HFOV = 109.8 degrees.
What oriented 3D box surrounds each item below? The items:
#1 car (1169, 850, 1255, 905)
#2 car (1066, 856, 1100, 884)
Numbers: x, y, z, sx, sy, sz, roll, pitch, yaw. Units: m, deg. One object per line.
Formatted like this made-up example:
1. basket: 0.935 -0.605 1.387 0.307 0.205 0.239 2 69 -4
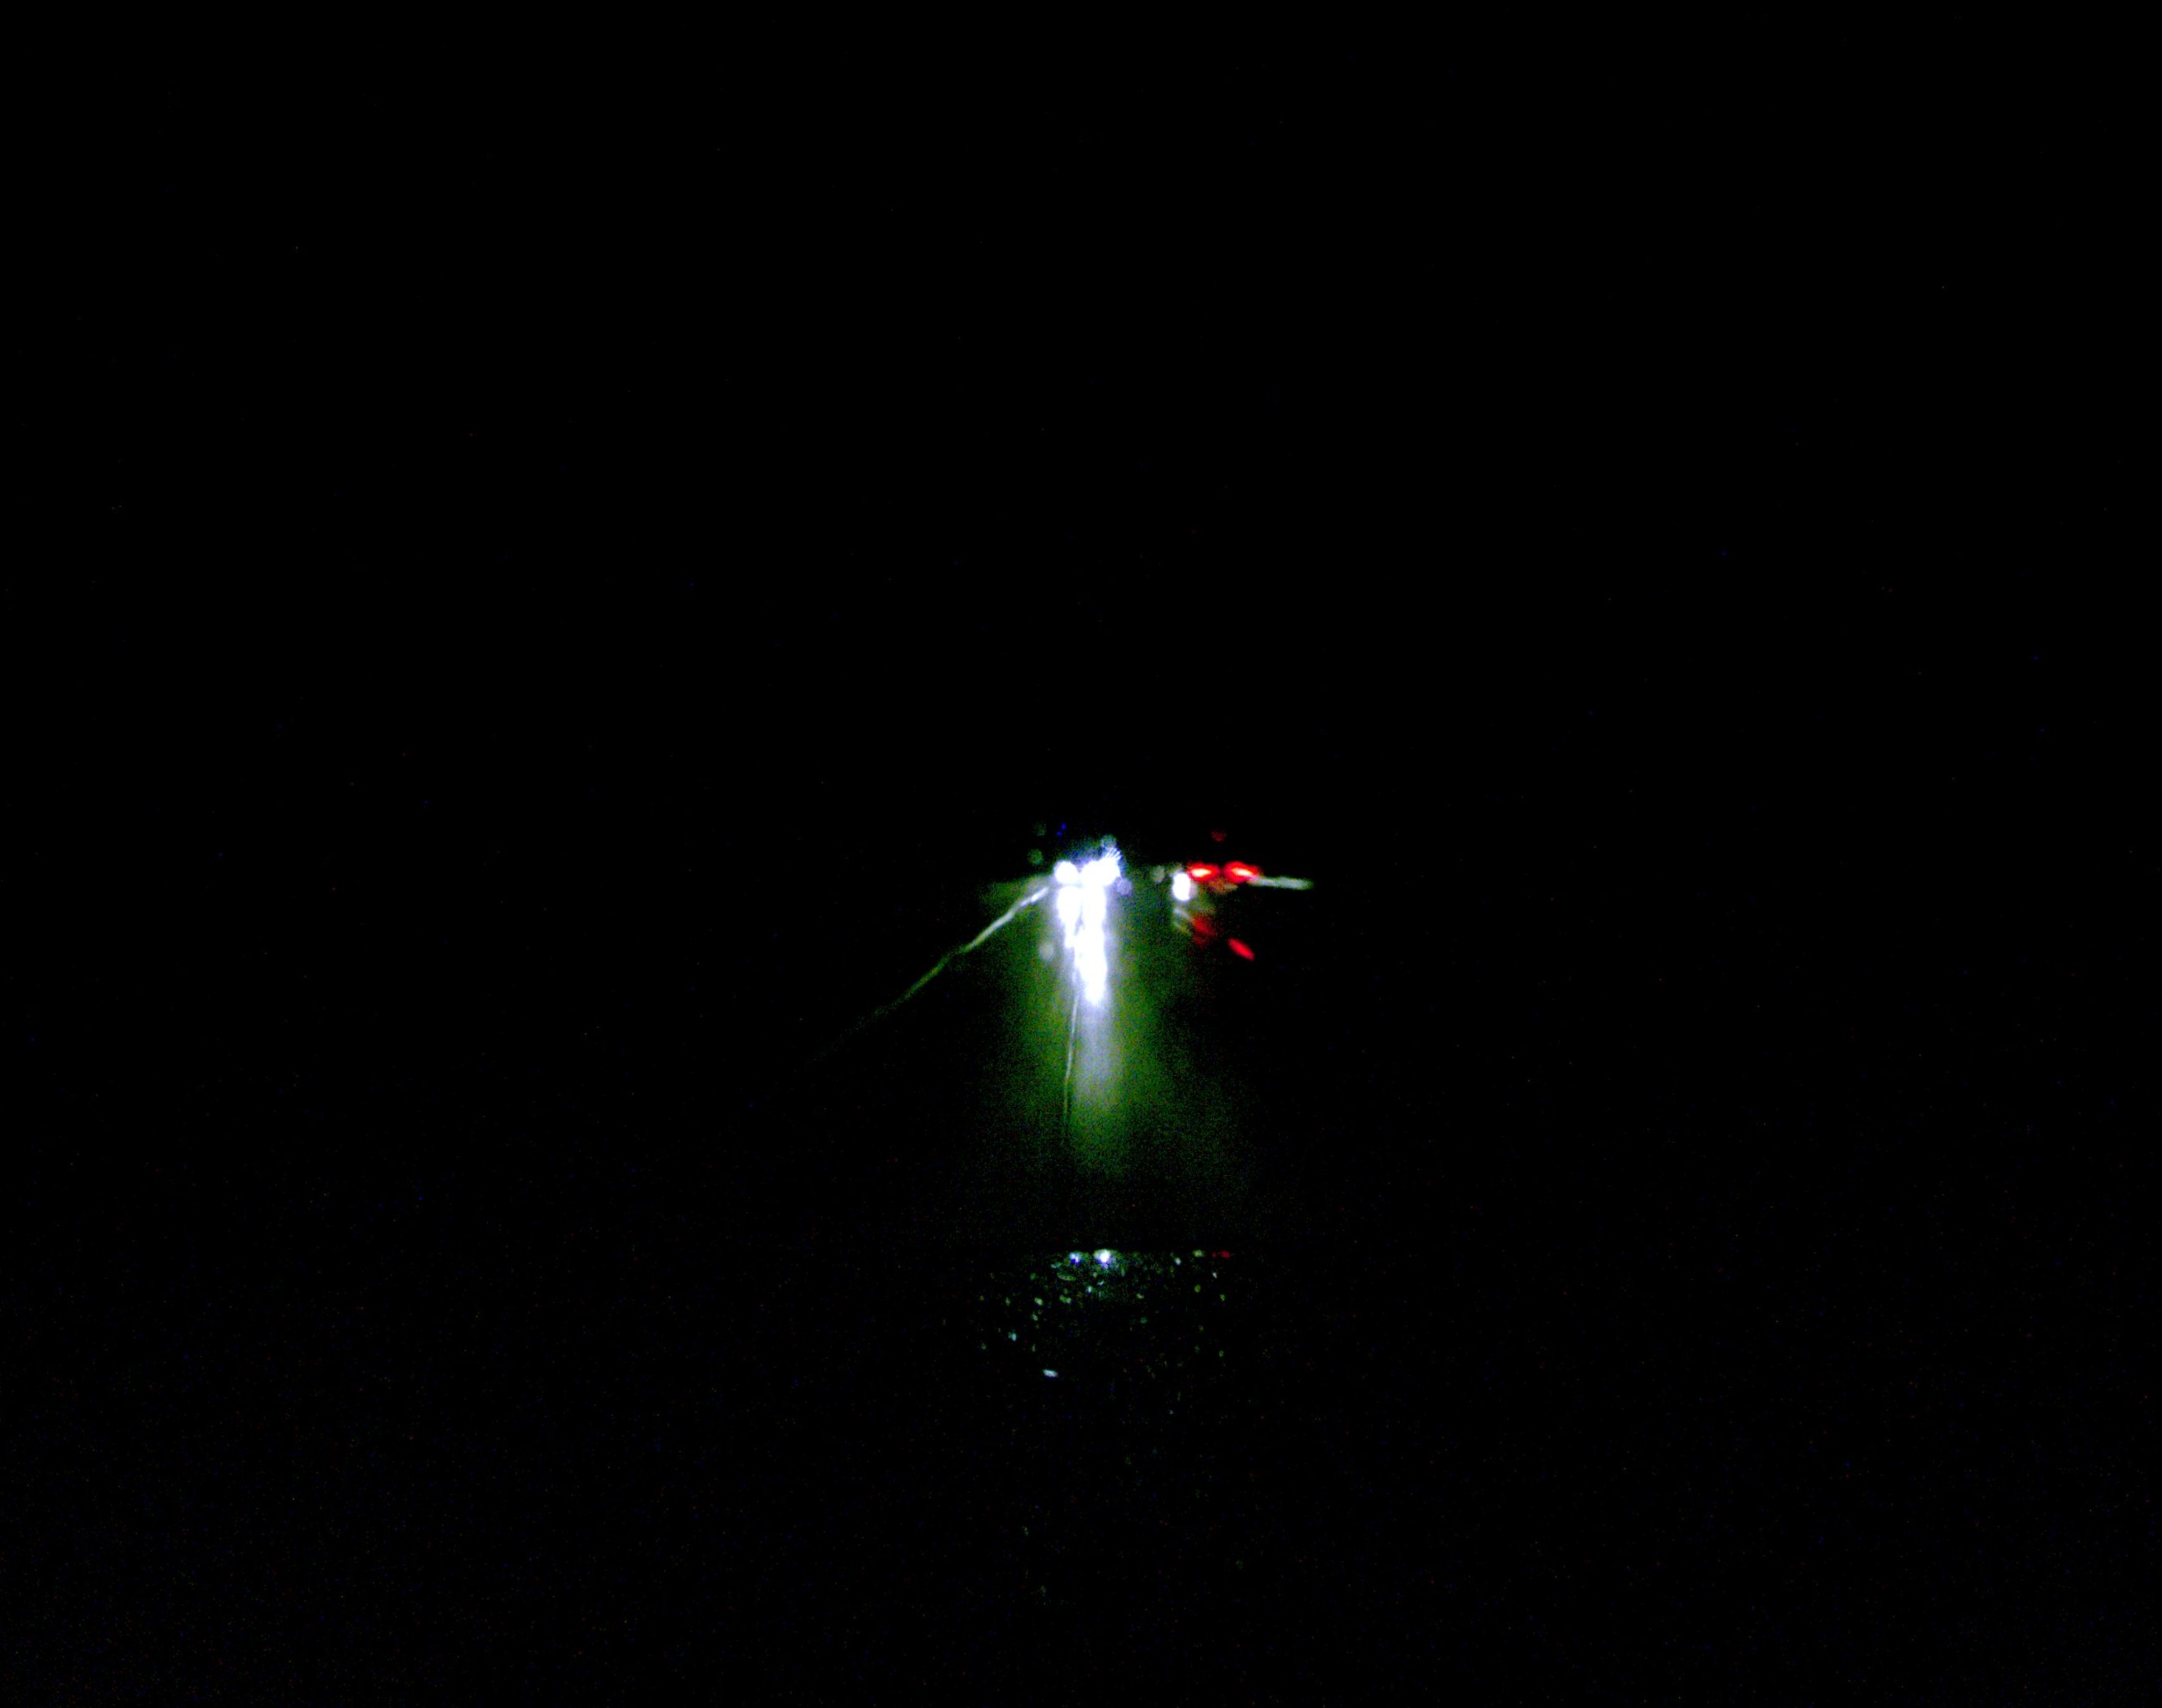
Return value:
1. car: 4.025 0.705 24.005 1.805 1.570 4.456 0 -1 -2
2. car: 0.156 0.971 45.260 1.901 1.551 4.002 0 -2 2
